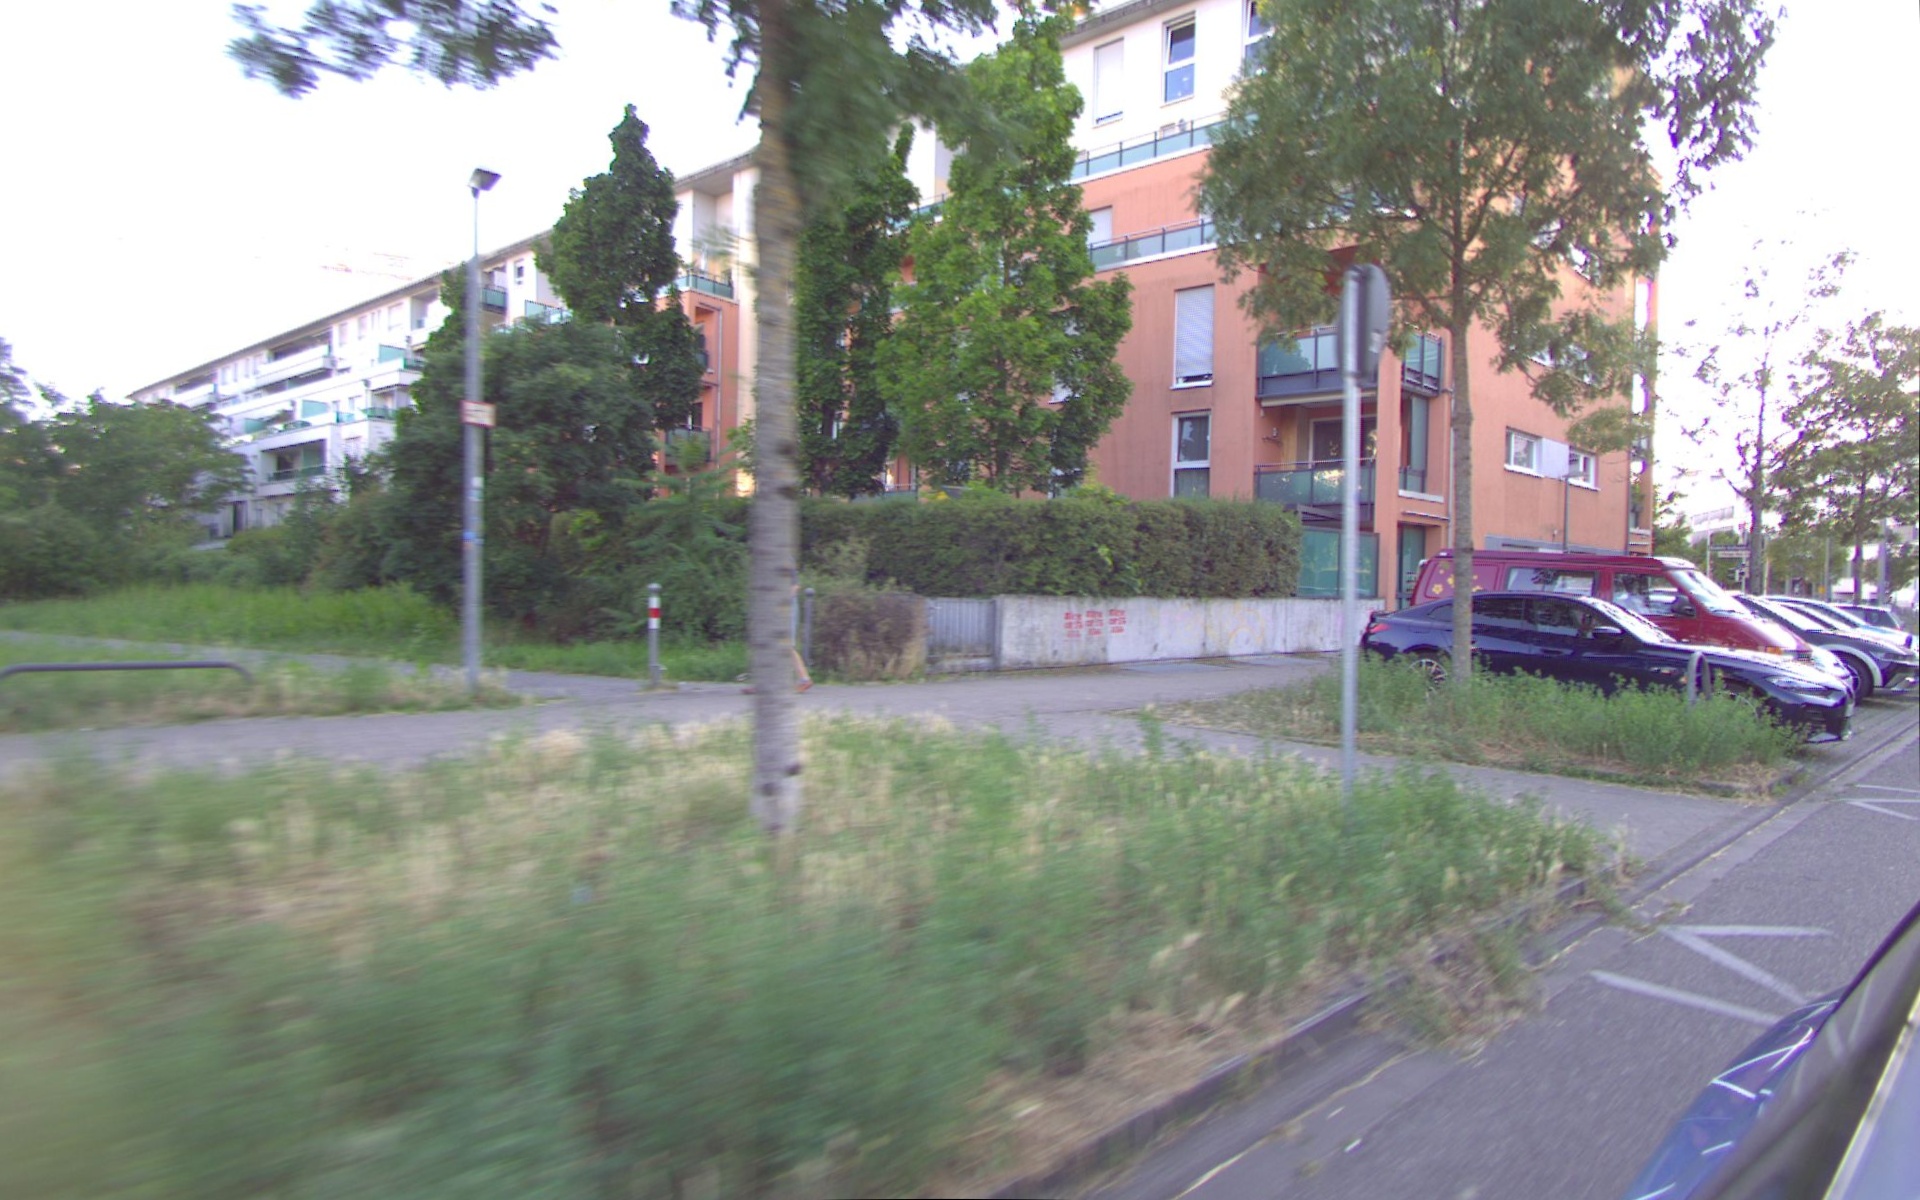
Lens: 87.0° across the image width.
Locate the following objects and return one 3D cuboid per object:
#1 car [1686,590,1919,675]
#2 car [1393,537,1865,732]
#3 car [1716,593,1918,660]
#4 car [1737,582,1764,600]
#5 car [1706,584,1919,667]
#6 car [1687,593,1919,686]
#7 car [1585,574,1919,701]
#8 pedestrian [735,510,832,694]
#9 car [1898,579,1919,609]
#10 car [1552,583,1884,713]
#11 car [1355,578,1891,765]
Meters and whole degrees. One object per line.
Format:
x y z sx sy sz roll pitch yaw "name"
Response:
18.036 0.619 21.590 1.591 1.588 3.884 0 1 -40 "car"
8.714 0.308 13.645 1.981 2.143 4.931 0 1 -39 "car"
21.341 0.603 25.293 1.587 1.492 3.751 0 1 -45 "car"
116.092 -1.283 148.629 1.976 2.618 3.972 1 1 21 "car"
19.861 0.527 23.268 1.643 1.588 4.059 0 3 -40 "car"
16.449 0.687 19.449 1.513 1.513 3.781 -2 3 -41 "car"
12.706 0.488 16.190 1.761 1.588 4.226 0 3 -40 "car"
-1.780 0.007 10.186 0.687 1.765 0.670 0 1 -41 "pedestrian"
96.444 -0.551 101.144 1.984 2.911 6.204 3 2 24 "car"
10.809 0.583 14.621 1.587 1.483 3.534 0 3 -40 "car"
7.053 0.590 11.246 1.780 1.576 4.677 0 1 -41 "car"
